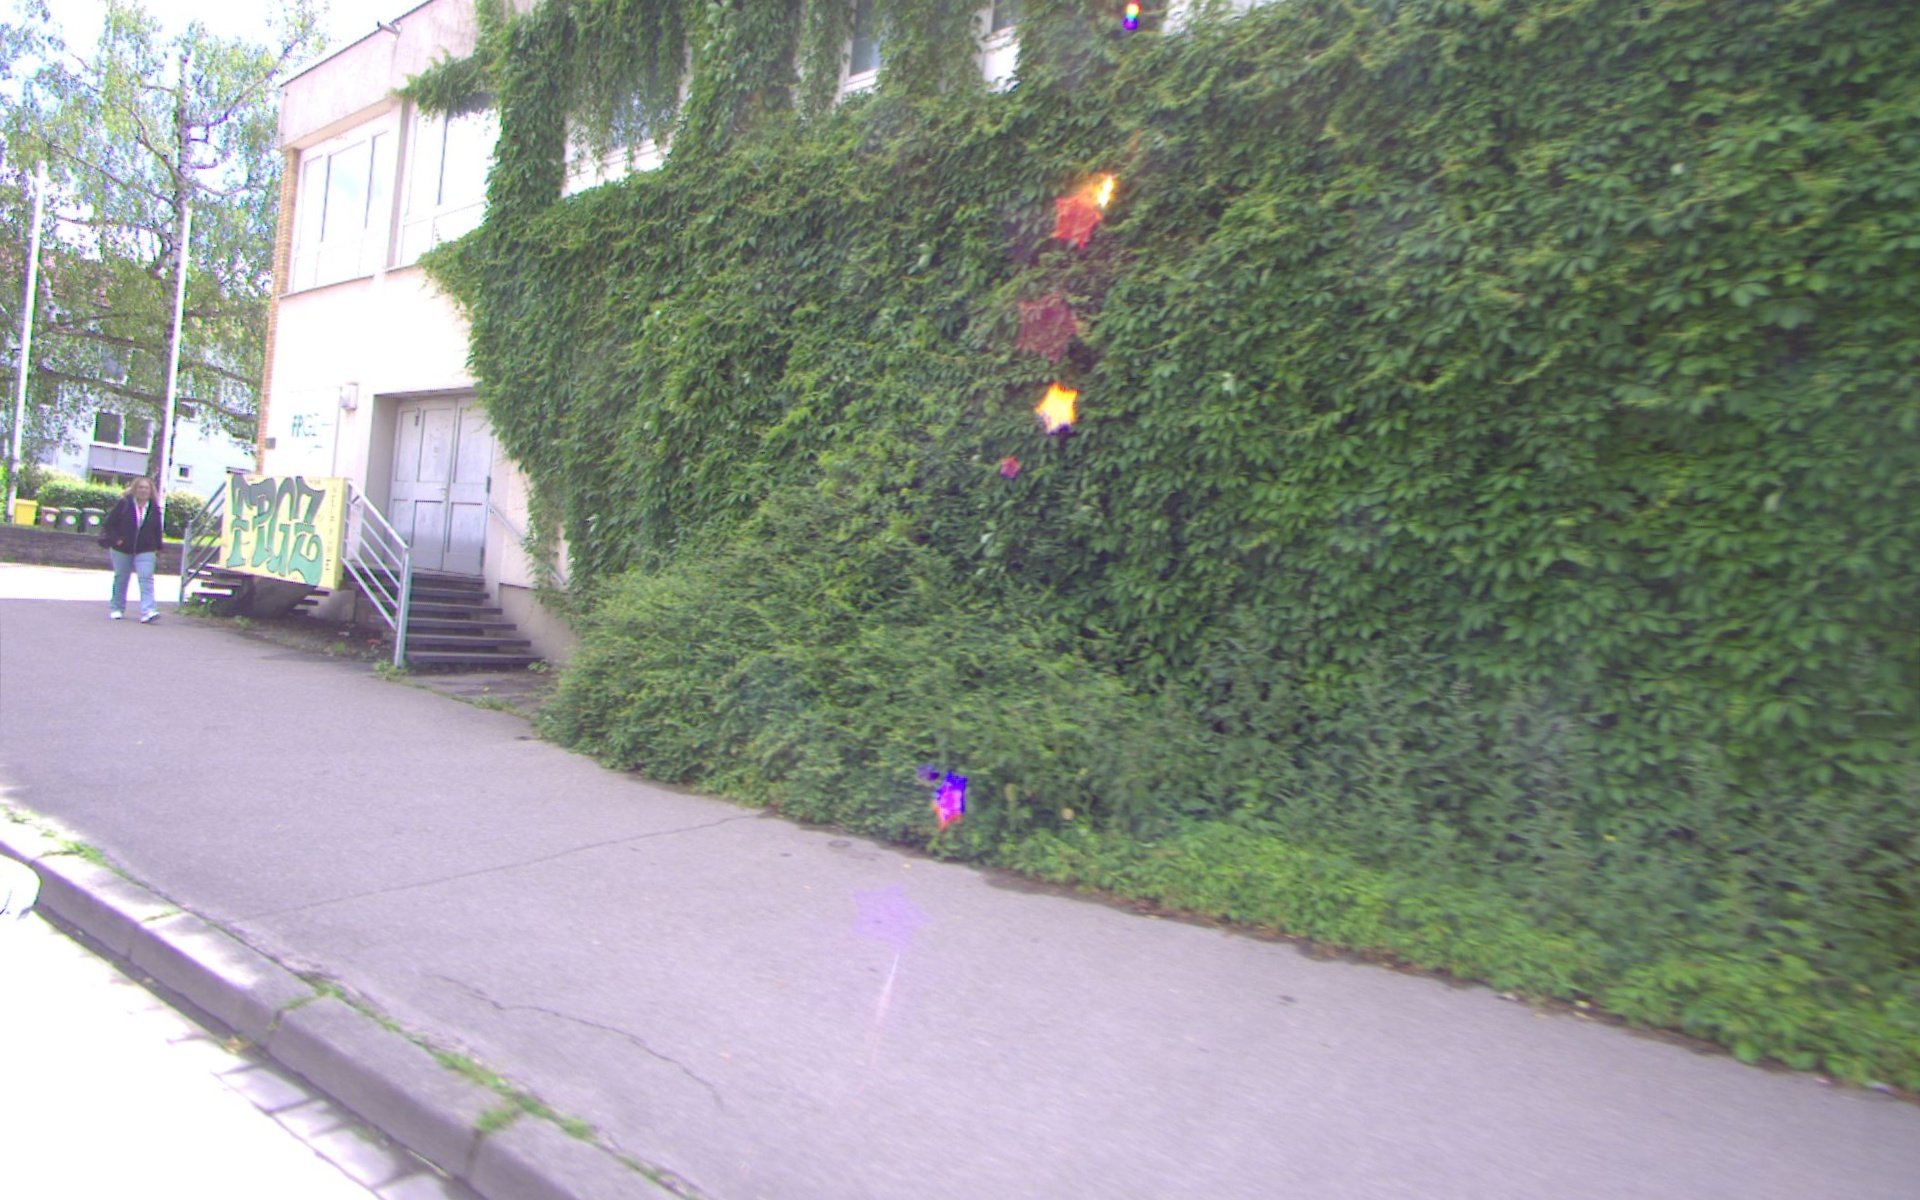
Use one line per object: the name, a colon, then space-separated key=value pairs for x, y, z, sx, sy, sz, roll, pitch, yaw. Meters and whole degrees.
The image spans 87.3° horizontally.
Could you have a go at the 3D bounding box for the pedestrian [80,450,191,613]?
pedestrian: x=-9.760 y=-0.796 z=11.913 sx=0.805 sy=1.794 sz=0.807 roll=6 pitch=1 yaw=41
